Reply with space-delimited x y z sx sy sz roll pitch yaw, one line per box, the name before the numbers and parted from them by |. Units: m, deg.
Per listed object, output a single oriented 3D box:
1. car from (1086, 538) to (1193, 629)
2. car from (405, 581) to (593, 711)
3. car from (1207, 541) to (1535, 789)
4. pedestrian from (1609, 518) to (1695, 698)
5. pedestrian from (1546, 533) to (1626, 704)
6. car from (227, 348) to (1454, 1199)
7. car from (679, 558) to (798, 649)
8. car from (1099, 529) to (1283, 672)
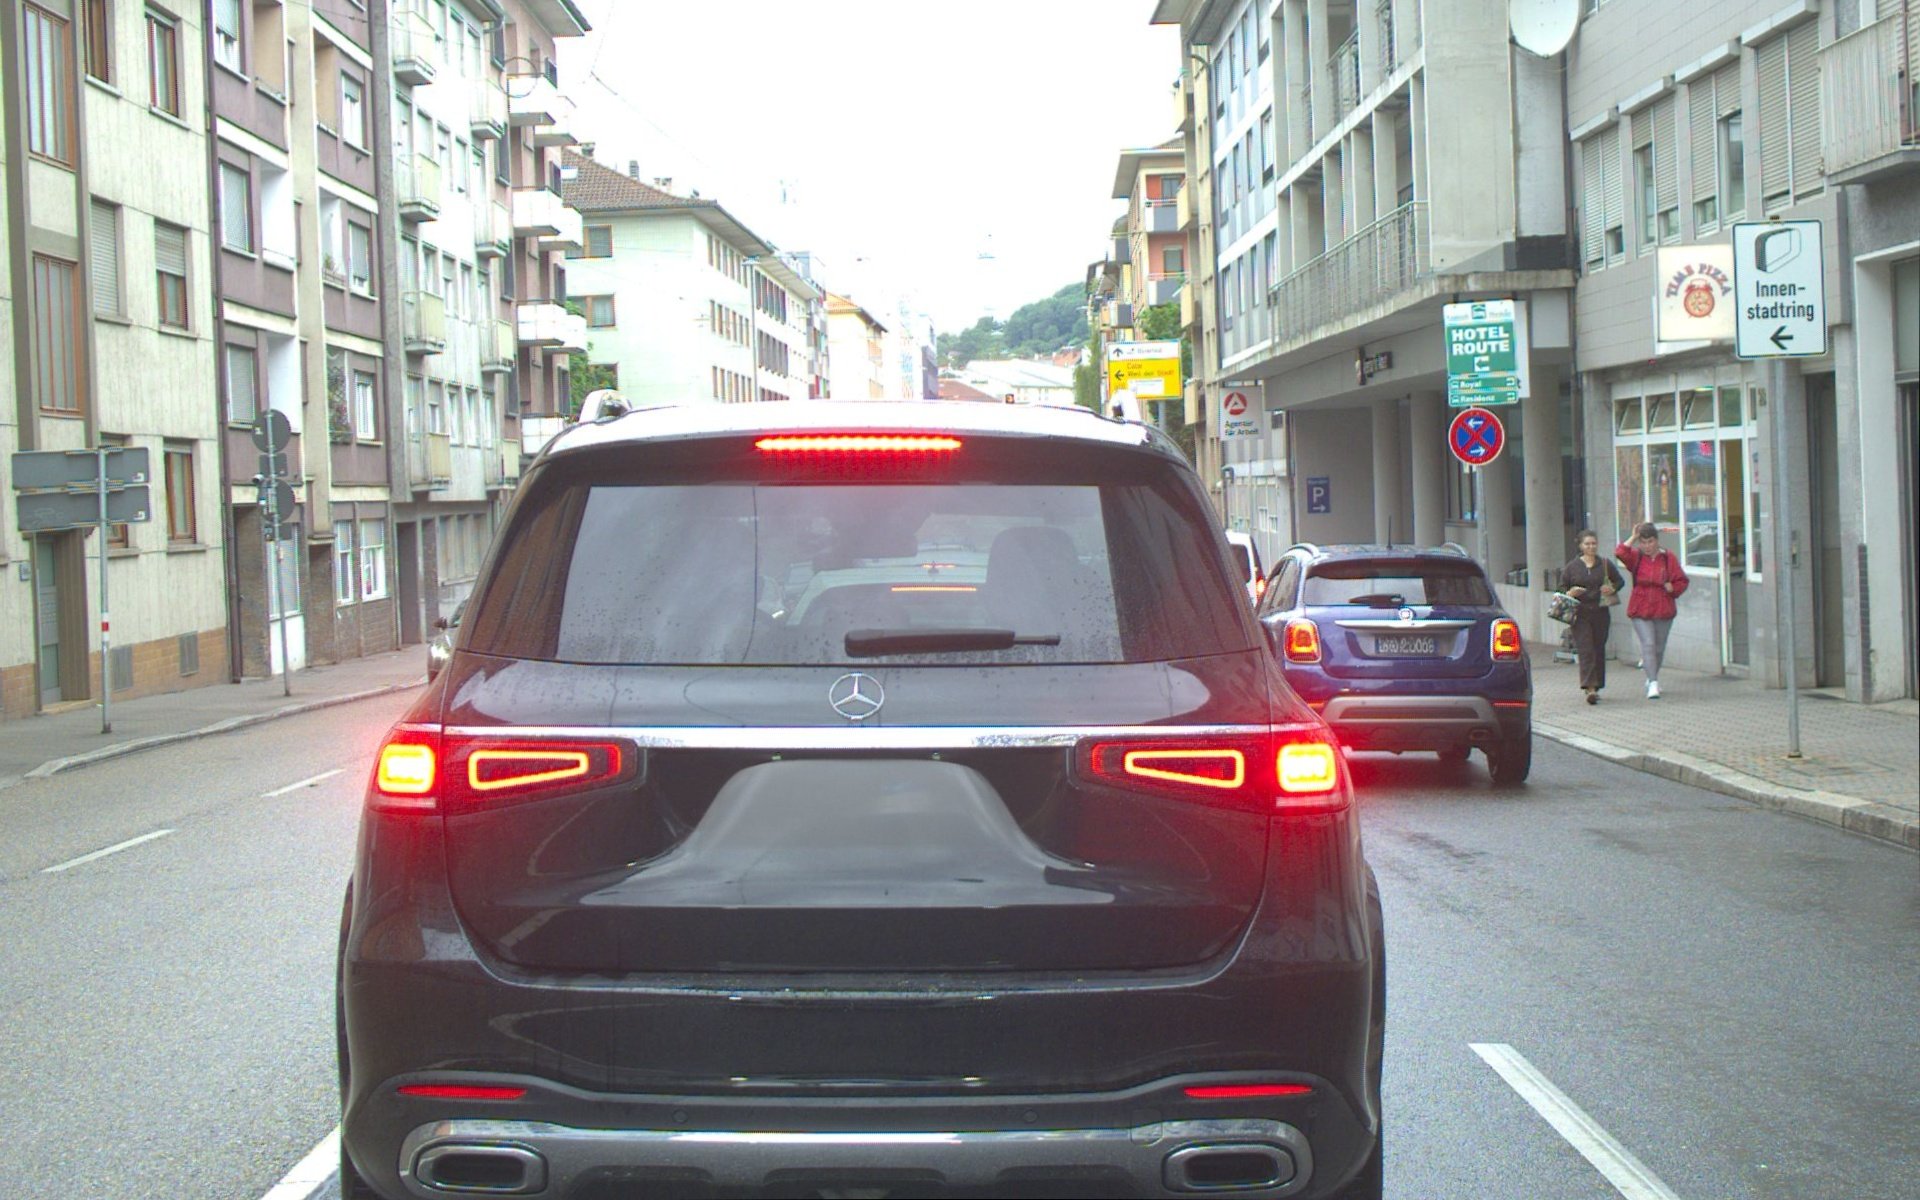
car | 3.220 -0.325 62.348 1.808 1.600 4.212 0 1 1
car | -5.639 0.533 42.448 1.767 1.341 3.889 -5 1 -1
car | 2.784 0.384 24.080 1.767 1.575 4.000 -1 1 -1
pedestrian | 6.234 0.067 30.973 0.560 1.573 0.526 -4 1 0
pedestrian | 5.642 0.163 30.994 0.506 1.495 0.562 -4 1 -1
car | -0.241 0.465 7.736 2.025 1.799 4.000 1 1 -1
car | -3.743 0.033 58.746 1.724 1.385 4.339 -3 1 -1
car | 2.965 -0.033 45.132 1.940 1.769 4.747 0 1 -2
